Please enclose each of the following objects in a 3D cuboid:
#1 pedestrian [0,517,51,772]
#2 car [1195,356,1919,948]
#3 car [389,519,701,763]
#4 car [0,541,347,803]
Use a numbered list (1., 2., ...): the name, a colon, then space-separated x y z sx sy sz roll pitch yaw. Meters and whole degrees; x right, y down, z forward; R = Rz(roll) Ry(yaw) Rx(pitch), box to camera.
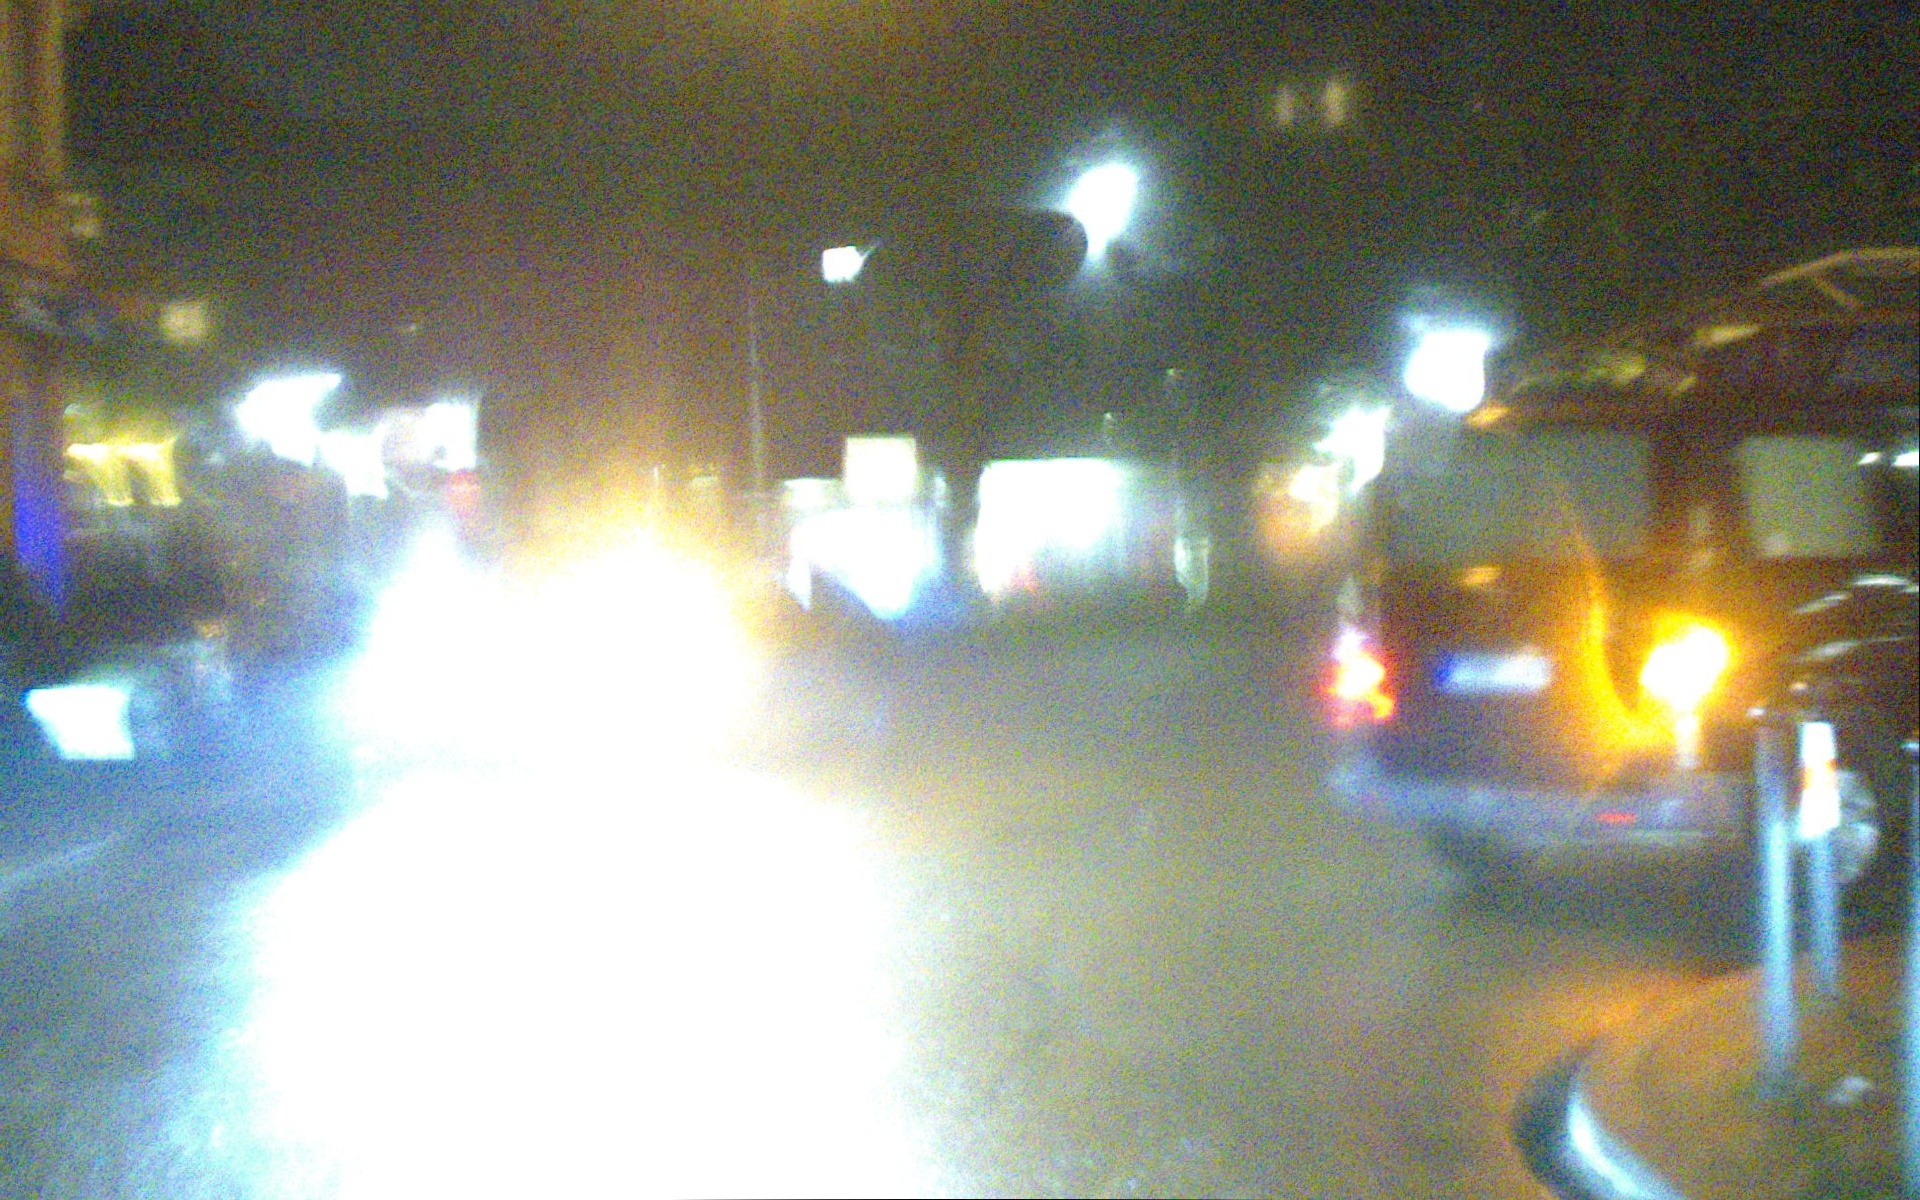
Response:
1. pedestrian: -7.567 0.339 27.007 0.656 1.967 0.770 1 0 -4
2. car: 3.357 0.125 14.129 4.681 2.042 2.001 -2 1 -40
3. car: -3.074 0.243 26.361 1.920 1.612 4.575 -3 1 -2
4. car: -5.784 0.448 25.069 1.832 1.711 4.595 -1 1 -1
